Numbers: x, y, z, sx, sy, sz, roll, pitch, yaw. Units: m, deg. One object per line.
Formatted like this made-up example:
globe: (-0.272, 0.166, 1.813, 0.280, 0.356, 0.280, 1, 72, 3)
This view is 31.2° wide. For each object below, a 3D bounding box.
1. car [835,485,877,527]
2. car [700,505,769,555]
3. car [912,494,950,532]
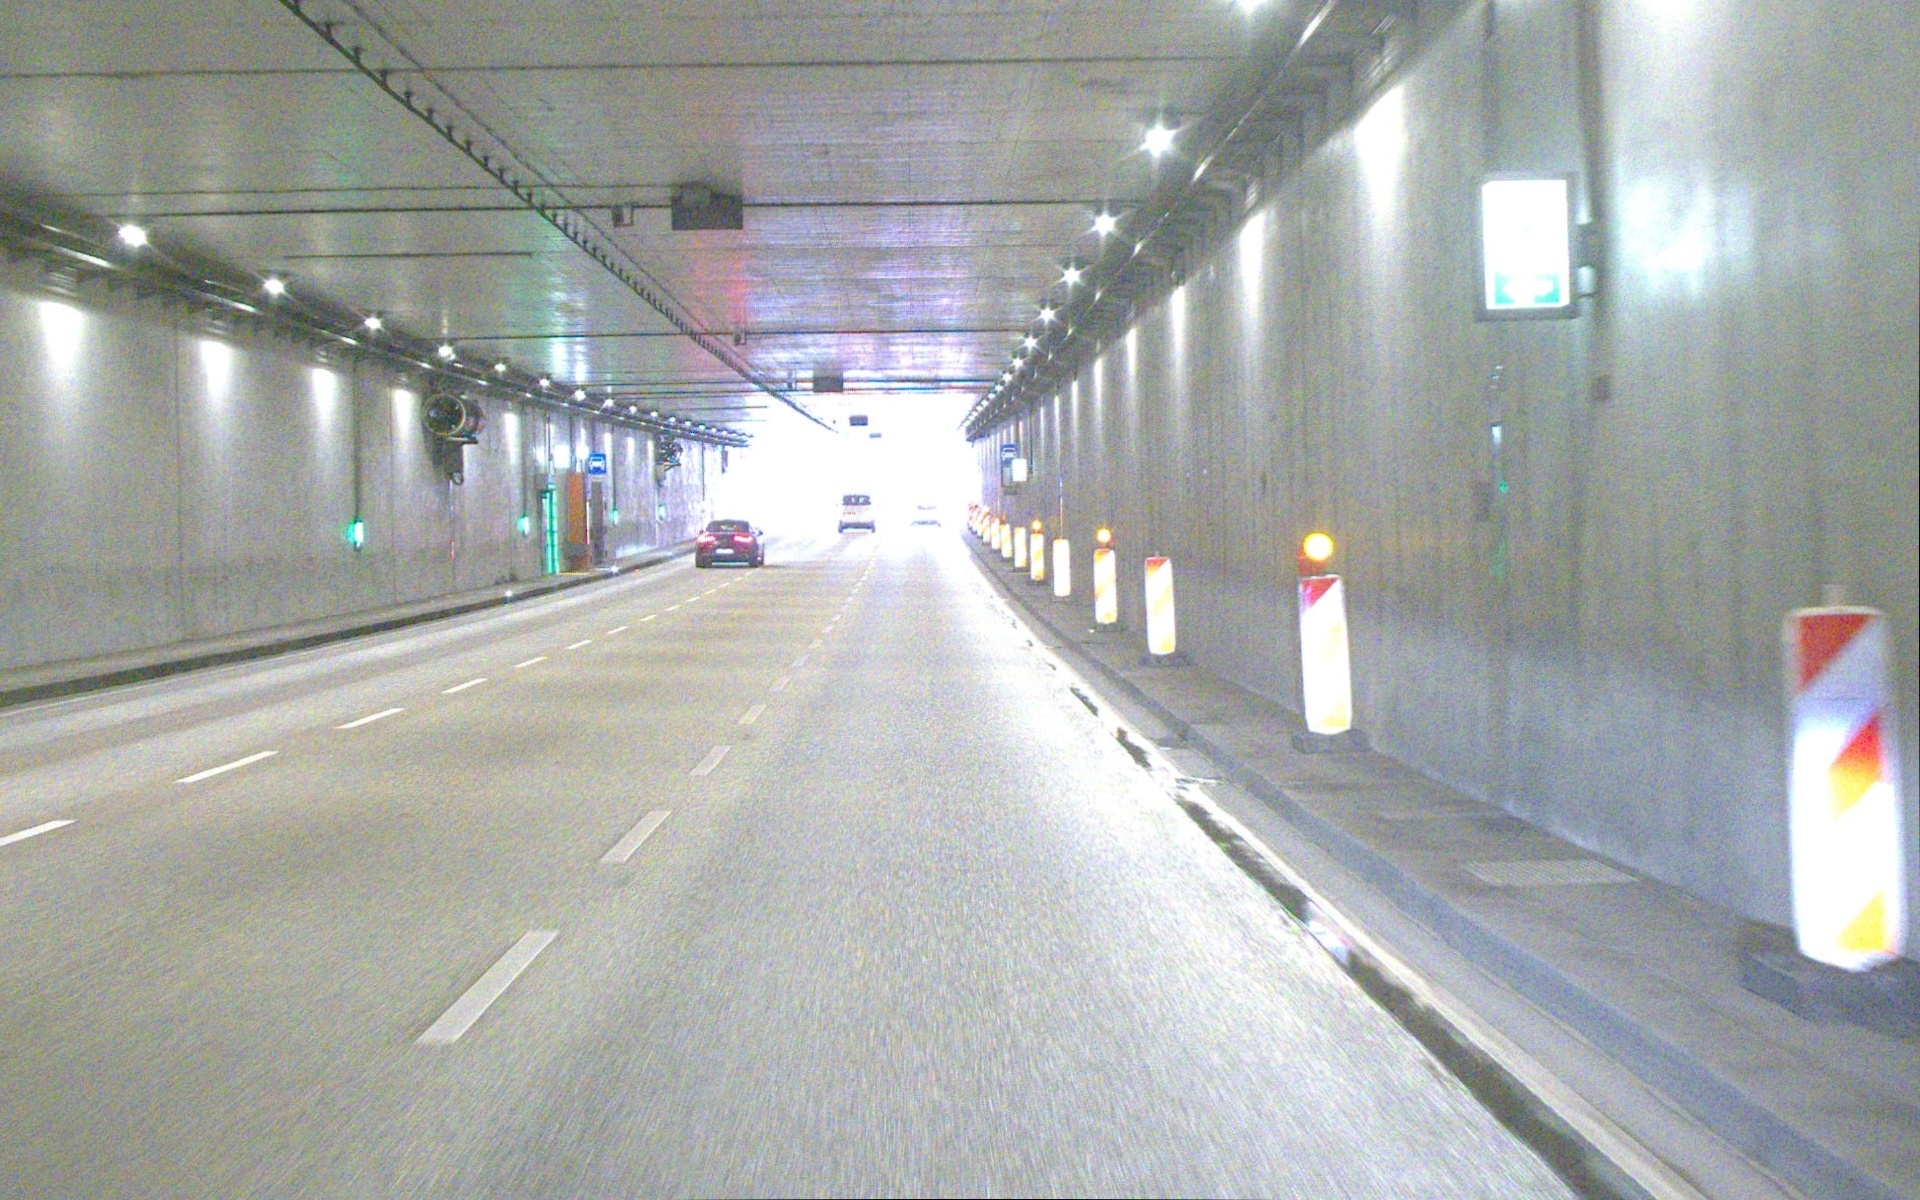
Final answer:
car: (-5.103, -4.611, 169.069, 1.993, 2.007, 4.000, 0, 1, 0)
car: (-6.822, -2.124, 103.741, 1.993, 1.443, 4.315, 1, 1, -4)
car: (-1.562, -4.686, 185.297, 1.993, 2.007, 4.000, 0, 1, 0)
